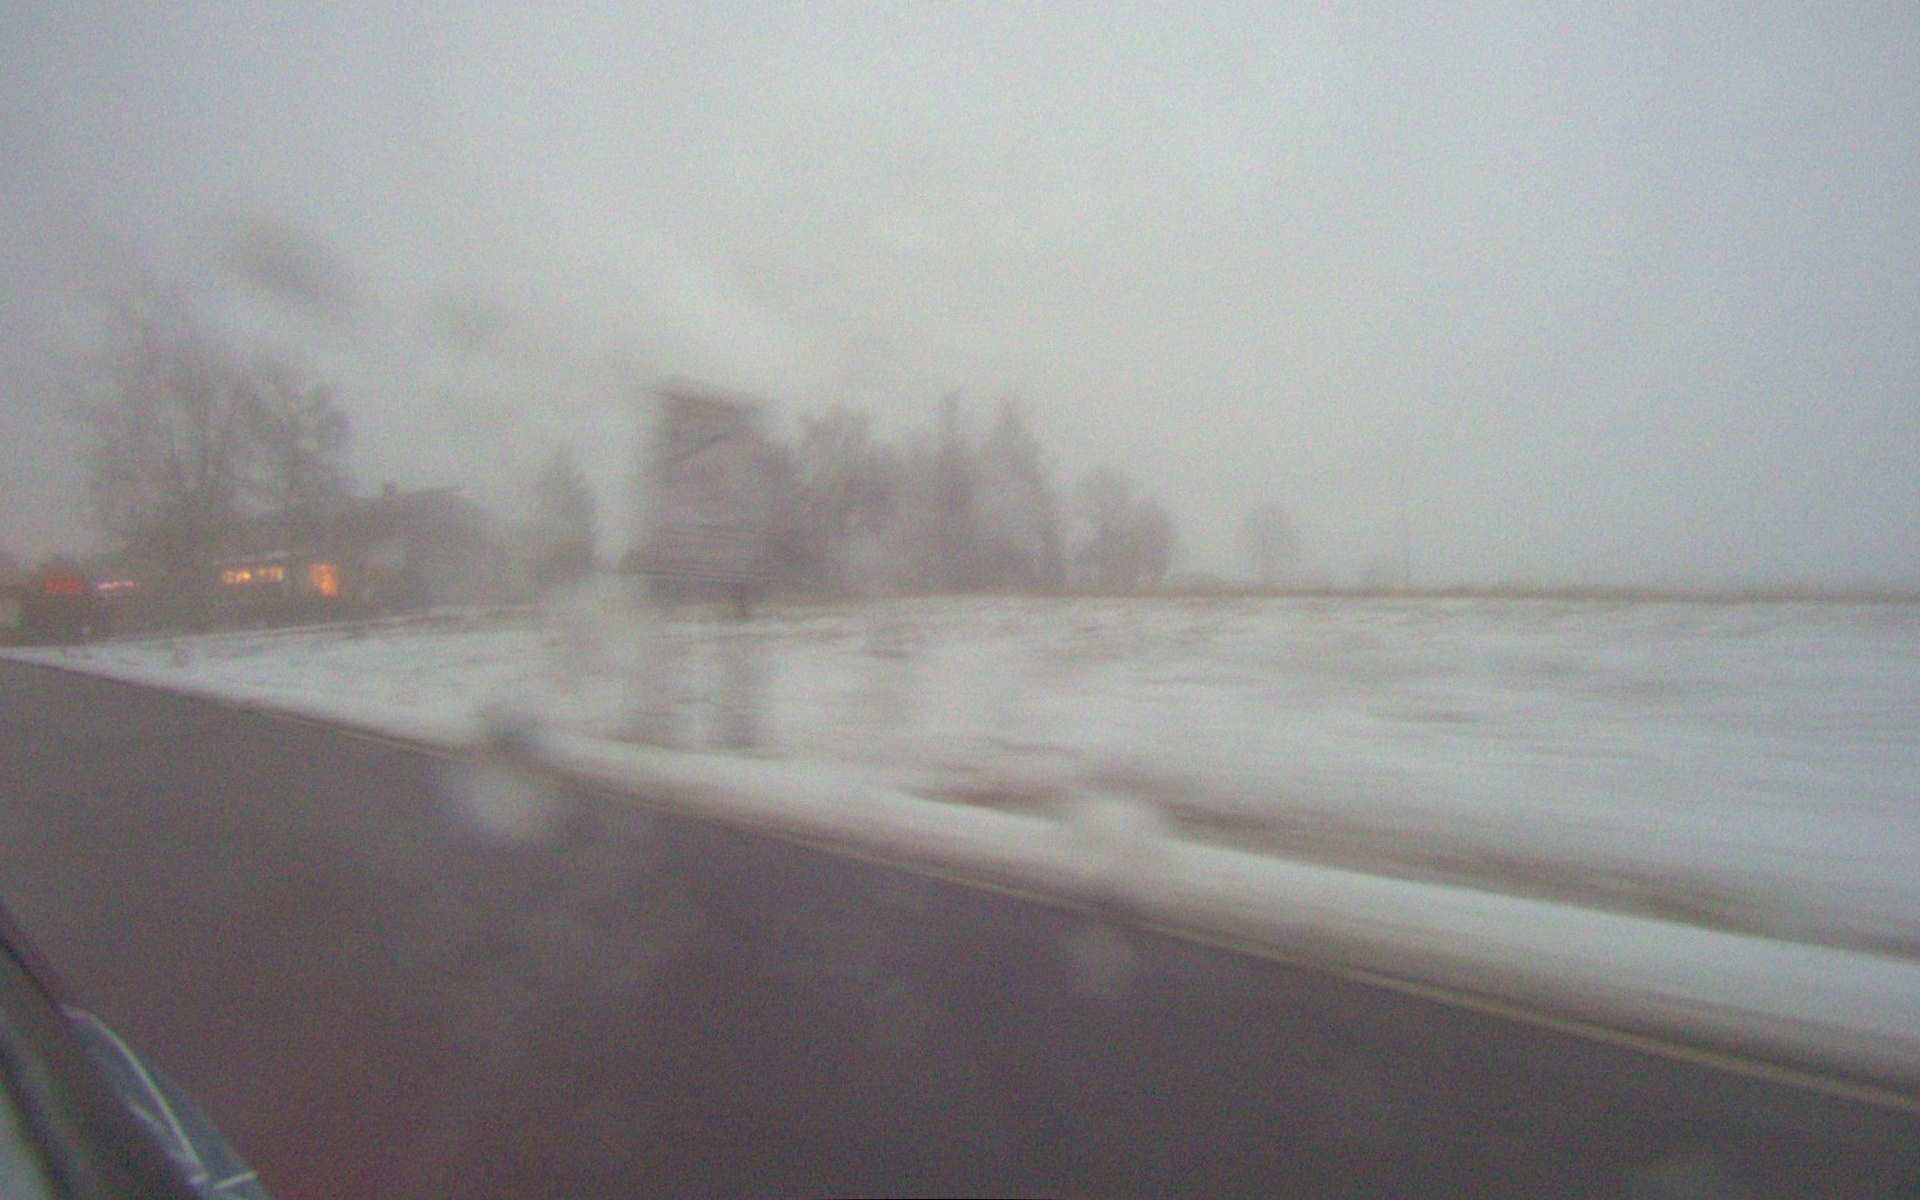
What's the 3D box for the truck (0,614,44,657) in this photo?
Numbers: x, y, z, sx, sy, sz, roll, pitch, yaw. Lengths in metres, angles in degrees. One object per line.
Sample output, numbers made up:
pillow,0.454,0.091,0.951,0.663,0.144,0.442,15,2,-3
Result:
truck,-54.076,1.926,55.566,1.990,2.321,5.230,-3,-5,27
